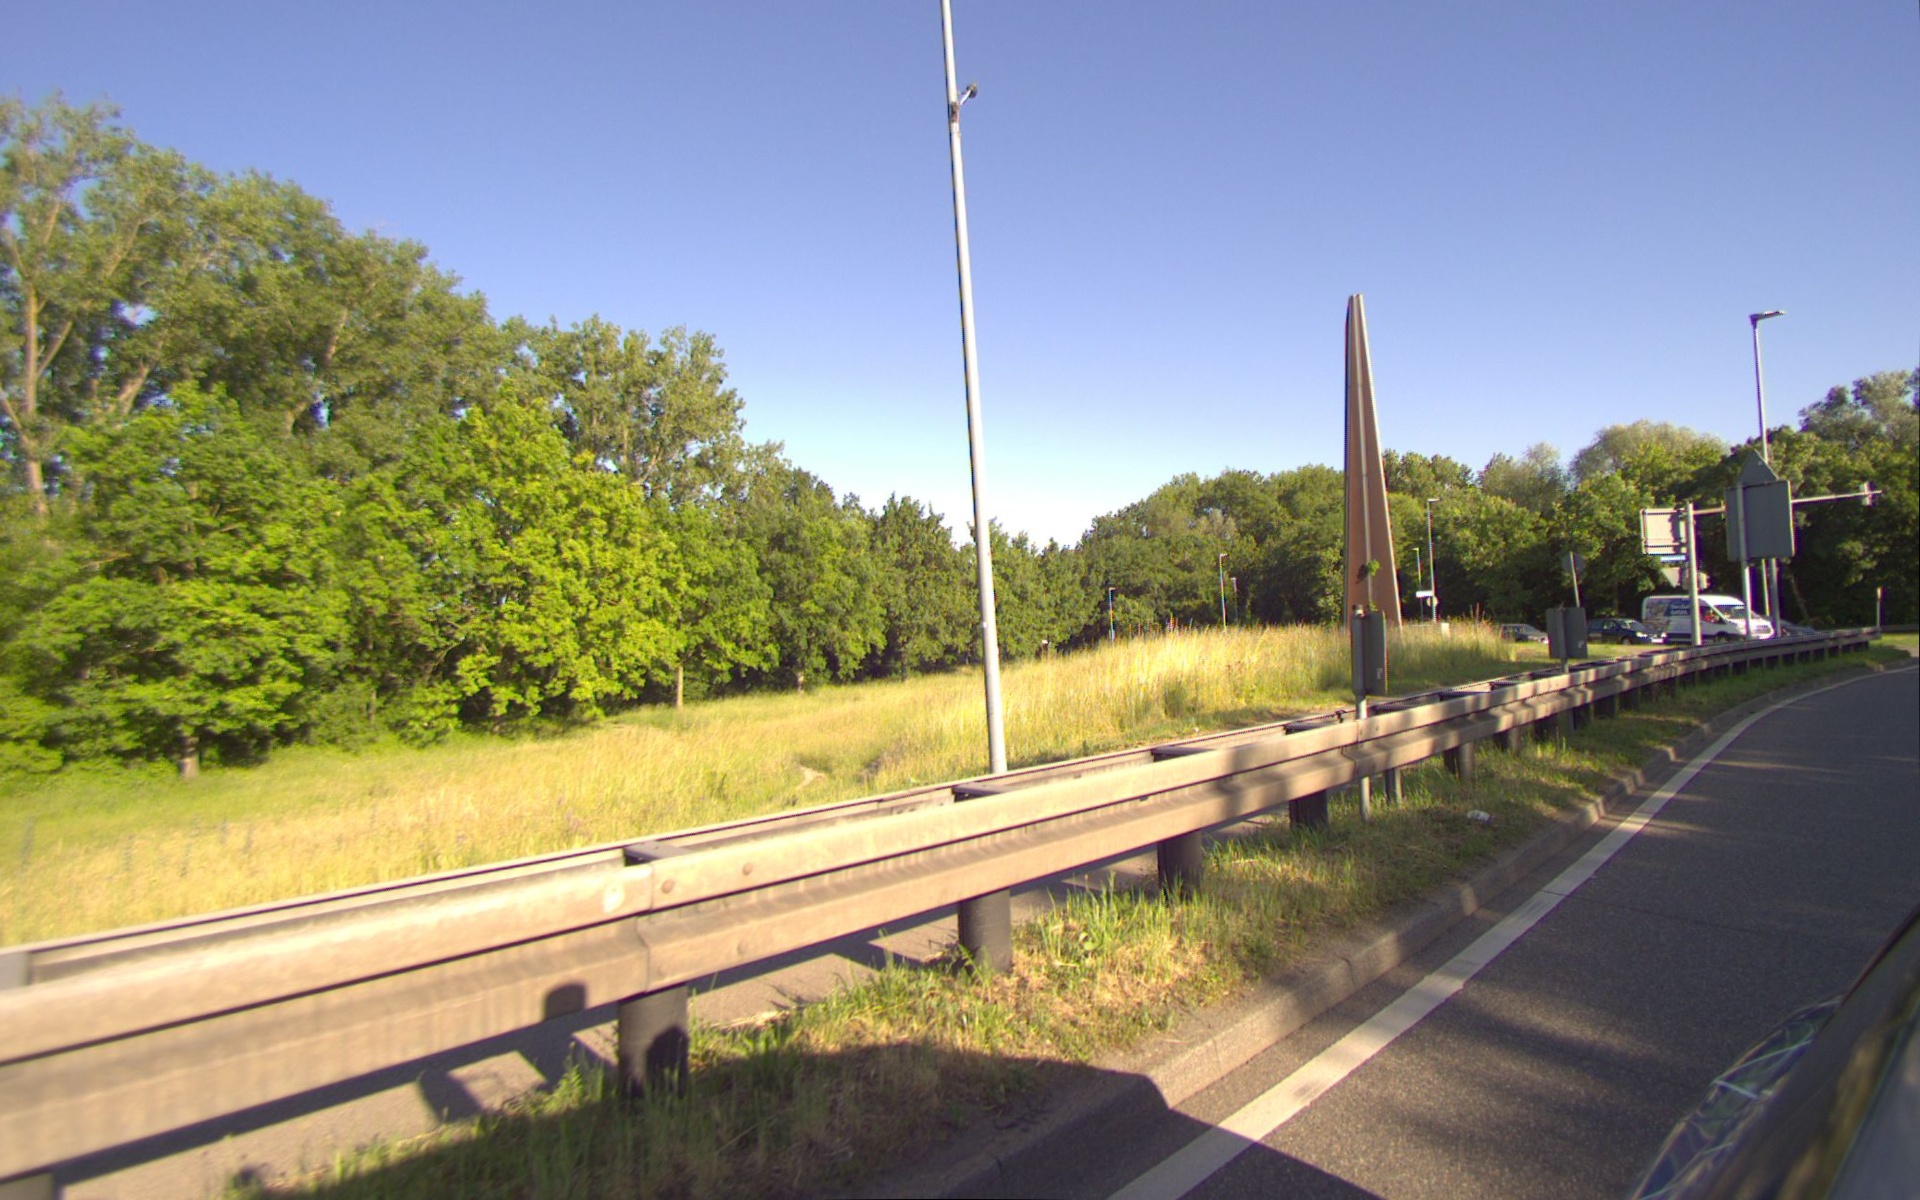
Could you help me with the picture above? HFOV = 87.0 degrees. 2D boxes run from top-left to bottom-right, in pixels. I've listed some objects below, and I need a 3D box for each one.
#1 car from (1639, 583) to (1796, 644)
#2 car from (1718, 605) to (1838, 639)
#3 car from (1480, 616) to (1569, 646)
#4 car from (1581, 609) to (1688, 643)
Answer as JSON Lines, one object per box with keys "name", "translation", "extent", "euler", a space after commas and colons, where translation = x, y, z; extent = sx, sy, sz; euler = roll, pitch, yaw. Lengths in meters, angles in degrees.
{"name": "car", "translation": [34.037, 0.677, 45.759], "extent": [2.071, 2.532, 5.712], "euler": [-1, -3, -9]}
{"name": "car", "translation": [37.495, 0.984, 46.530], "extent": [1.733, 1.458, 4.095], "euler": [-1, -1, -11]}
{"name": "car", "translation": [29.220, 1.575, 52.538], "extent": [1.614, 1.408, 4.296], "euler": [-1, -1, -10]}
{"name": "car", "translation": [30.491, 1.147, 45.903], "extent": [1.807, 1.432, 3.993], "euler": [-1, -1, -8]}
